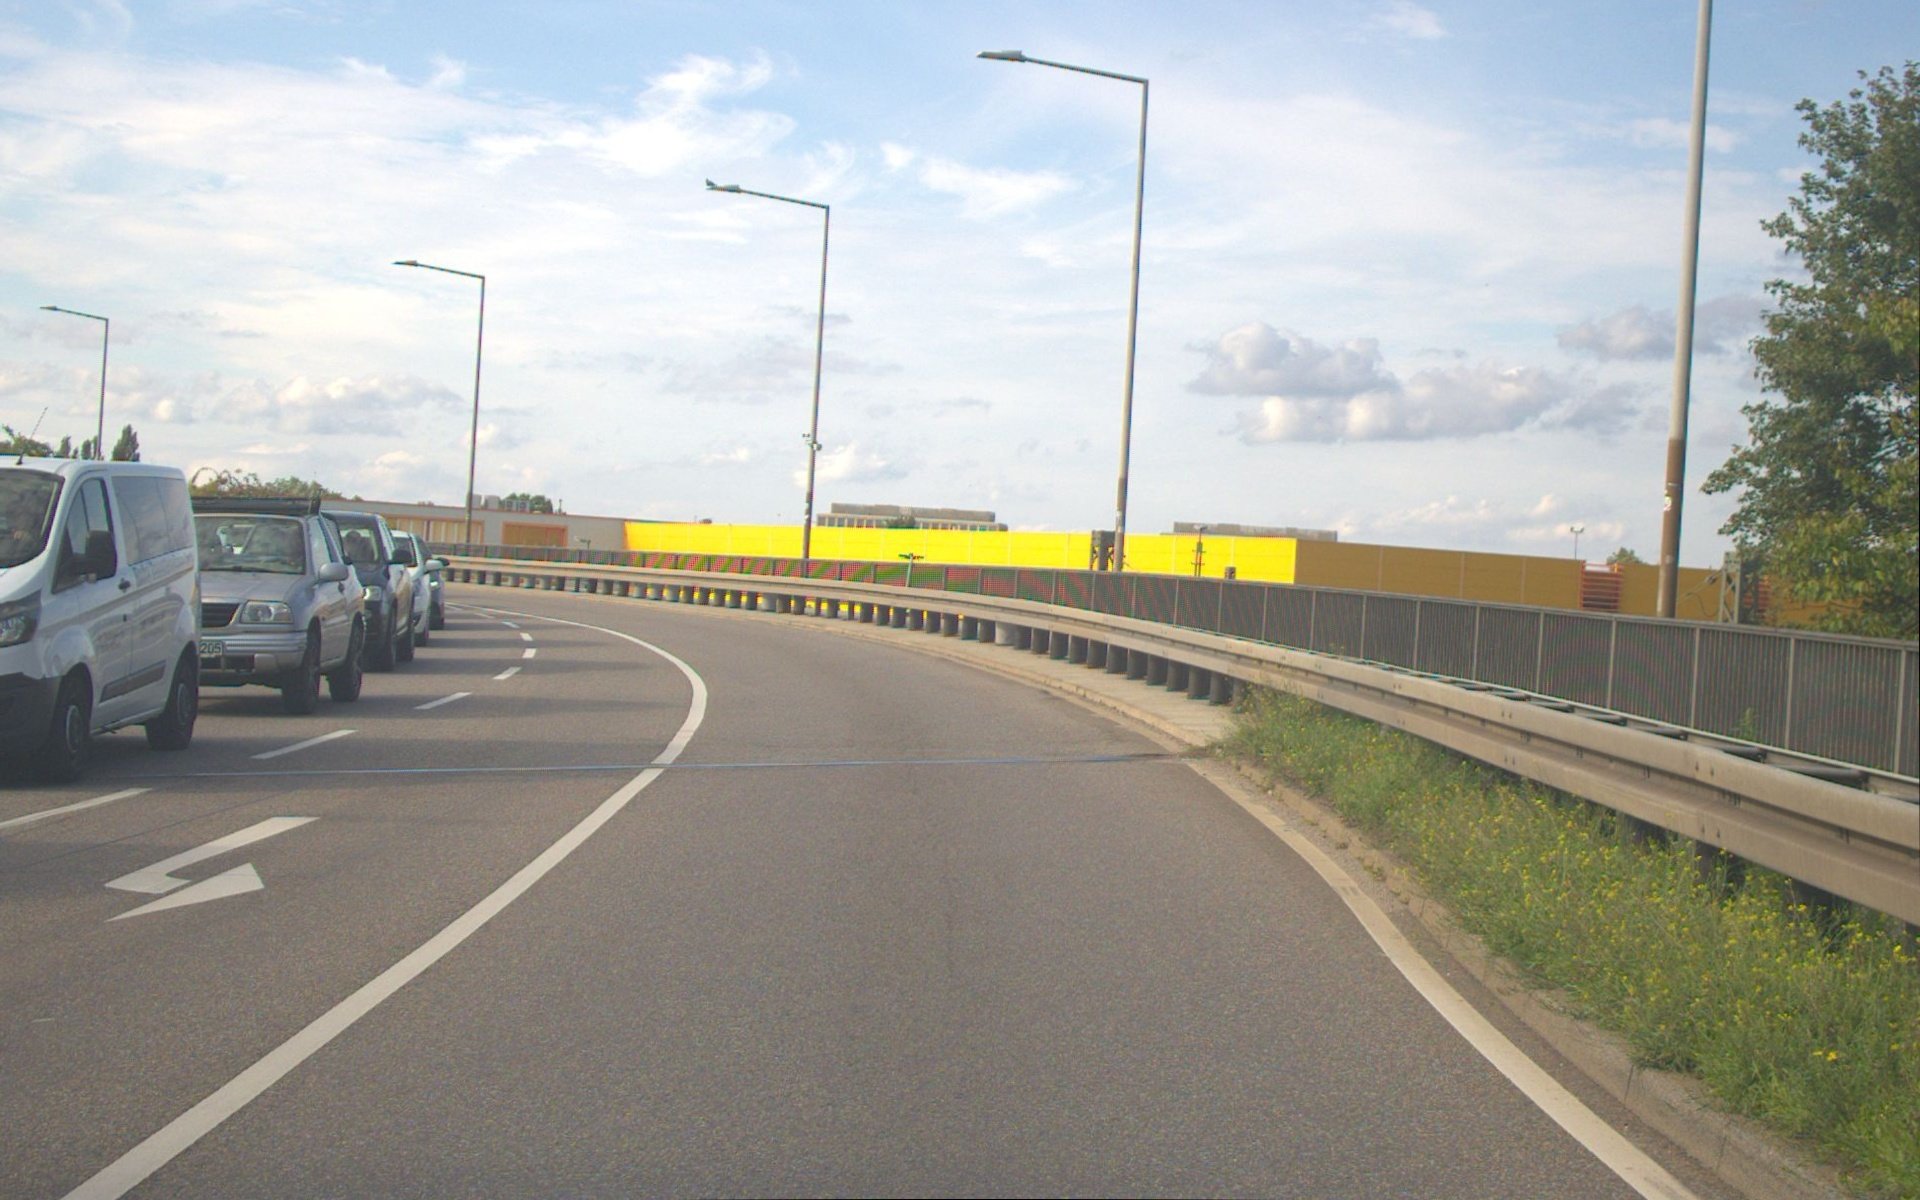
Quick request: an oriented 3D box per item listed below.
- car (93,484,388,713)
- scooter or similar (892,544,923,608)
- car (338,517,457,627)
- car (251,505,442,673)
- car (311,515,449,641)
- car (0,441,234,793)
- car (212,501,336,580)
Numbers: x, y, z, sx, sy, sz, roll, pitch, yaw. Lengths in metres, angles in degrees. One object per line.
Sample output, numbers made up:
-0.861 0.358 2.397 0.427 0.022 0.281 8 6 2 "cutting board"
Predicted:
-5.891 -0.058 28.550 1.773 1.740 3.838 1 1 -2 "car"
-0.968 -0.451 63.283 0.265 1.158 1.189 1 1 -15 "scooter or similar"
-8.467 -0.449 51.630 1.682 1.540 3.924 1 1 -10 "car"
-6.553 -0.168 37.035 1.869 1.660 4.631 1 1 -9 "car"
-7.624 -0.318 45.123 1.682 1.540 3.924 1 1 -10 "car"
-6.107 0.017 21.695 1.985 1.957 5.048 1 1 0 "car"
-15.789 -1.388 79.048 1.773 1.740 3.838 1 2 -28 "car"
